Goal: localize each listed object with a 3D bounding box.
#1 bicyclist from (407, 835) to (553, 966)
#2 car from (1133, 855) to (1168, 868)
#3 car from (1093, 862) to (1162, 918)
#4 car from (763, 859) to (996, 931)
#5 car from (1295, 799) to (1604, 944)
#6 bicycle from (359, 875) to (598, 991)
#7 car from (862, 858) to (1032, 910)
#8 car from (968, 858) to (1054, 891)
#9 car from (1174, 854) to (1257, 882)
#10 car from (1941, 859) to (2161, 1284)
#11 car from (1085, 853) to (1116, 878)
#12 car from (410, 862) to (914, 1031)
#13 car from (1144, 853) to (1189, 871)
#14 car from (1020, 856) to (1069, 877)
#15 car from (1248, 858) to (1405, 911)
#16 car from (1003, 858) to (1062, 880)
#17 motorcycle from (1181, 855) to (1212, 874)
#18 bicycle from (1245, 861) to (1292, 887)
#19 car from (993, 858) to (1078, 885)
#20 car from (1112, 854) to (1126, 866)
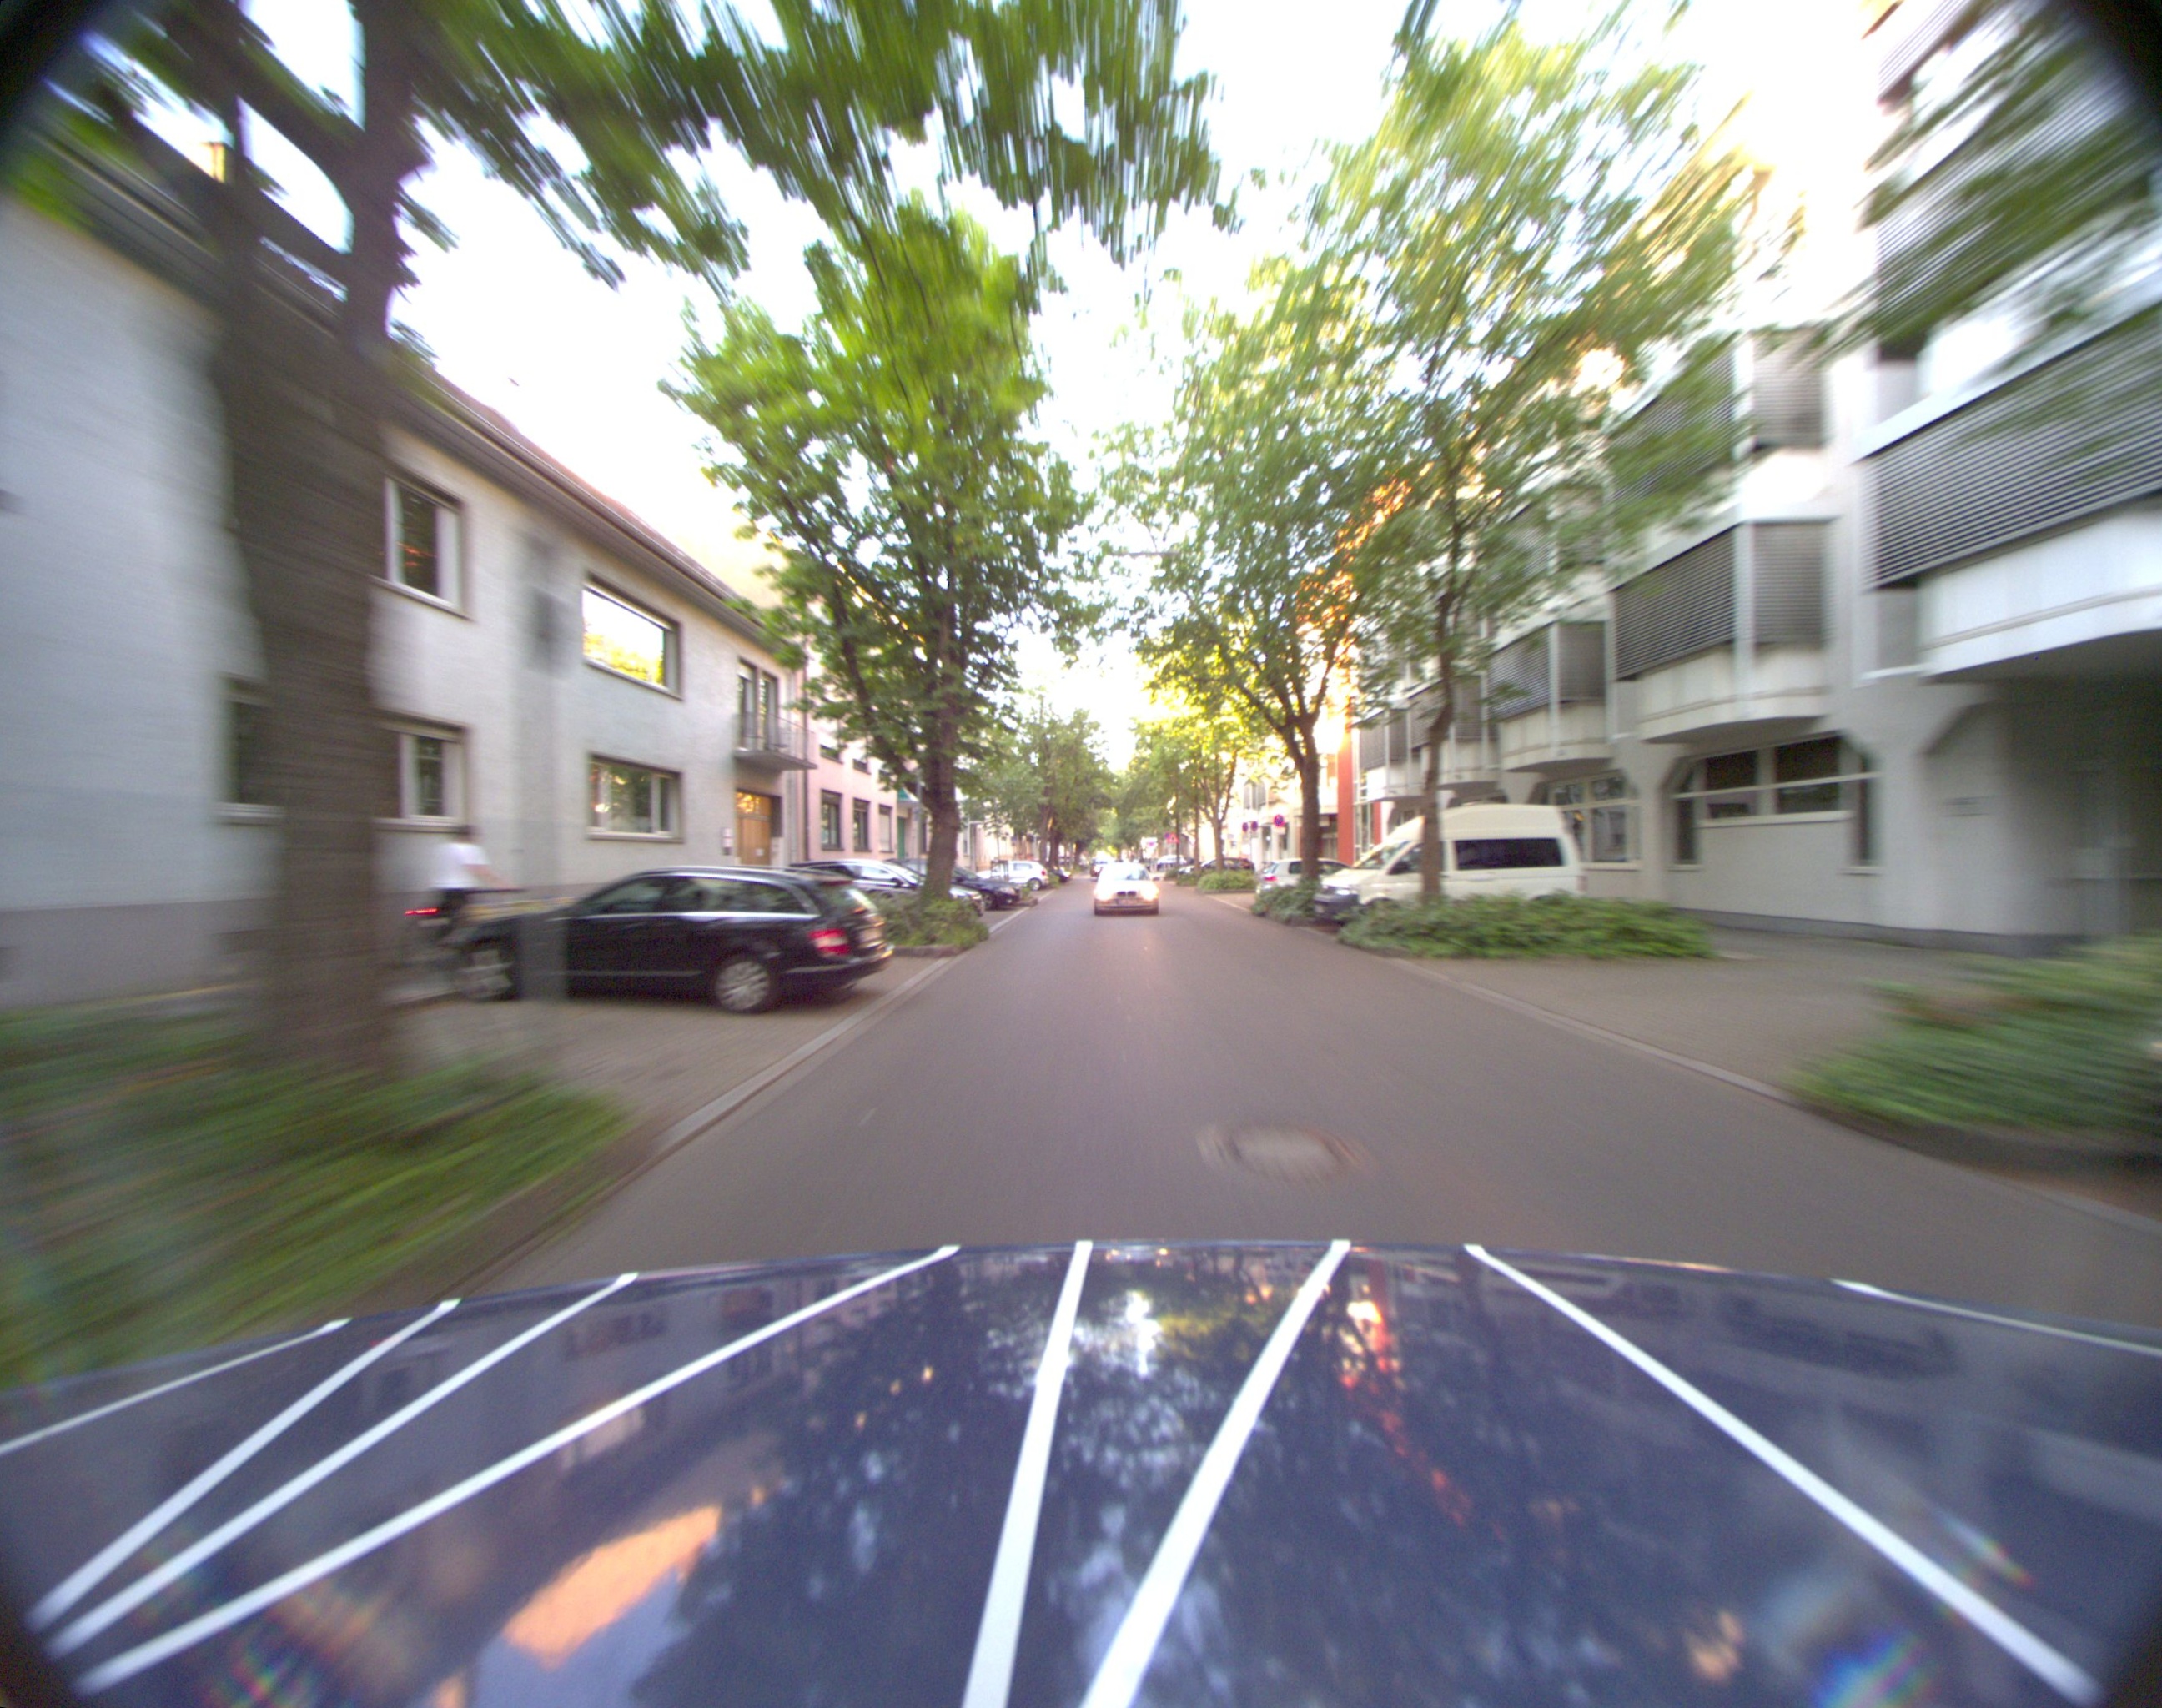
[{"bbox_3d":[-7.759,0.572,9.885,0.973,1.595,1.136,-1,0,-2],"label":"bicyclist"},{"bbox_3d":[9.390,1.047,103.083,4.528,1.705,2.000,-1,0,3],"label":"car"},{"bbox_3d":[1.275,0.959,21.735,1.736,1.363,4.333,-1,0,2],"label":"car"},{"bbox_3d":[-4.458,0.883,17.279,4.688,1.380,2.001,2,0,3],"label":"car"},{"bbox_3d":[7.005,0.338,14.910,5.015,2.558,2.121,-1,0,2],"label":"car"},{"bbox_3d":[-7.647,0.911,9.992,0.622,1.157,3.400,-1,0,-4],"label":"bicycle"},{"bbox_3d":[-4.080,0.905,23.737,4.850,1.439,2.042,1,0,4],"label":"car"},{"bbox_3d":[-3.415,0.992,37.552,4.092,1.482,1.798,-1,0,-1],"label":"car"},{"bbox_3d":[7.734,0.811,44.023,4.520,1.517,1.872,-1,0,1],"label":"car"},{"bbox_3d":[6.561,0.801,2.505,4.864,1.612,2.160,-1,0,3],"label":"car"},{"bbox_3d":[1.476,0.811,55.440,1.892,1.635,4.002,-2,0,6],"label":"car"},{"bbox_3d":[-4.361,0.880,8.352,4.467,1.419,2.012,2,1,6],"label":"car"},{"bbox_3d":[8.891,0.809,78.986,4.601,1.725,2.142,-1,0,7],"label":"car"},{"bbox_3d":[-2.789,0.949,59.055,3.731,1.544,1.754,-1,0,-1],"label":"car"},{"bbox_3d":[7.369,0.898,23.144,4.178,1.460,1.953,-1,0,2],"label":"car"},{"bbox_3d":[-3.178,0.988,50.376,3.846,1.403,1.712,0,0,-3],"label":"car"},{"bbox_3d":[9.045,0.804,59.735,2.234,1.461,0.900,-1,0,-21],"label":"motorcycle"},{"bbox_3d":[8.686,0.901,35.234,1.964,1.169,0.656,-1,0,-5],"label":"bicycle"},{"bbox_3d":[-2.679,1.034,45.510,4.886,1.488,1.988,-1,0,2],"label":"car"},{"bbox_3d":[5.505,0.881,110.894,1.787,1.678,4.385,-1,0,0],"label":"car"}]
